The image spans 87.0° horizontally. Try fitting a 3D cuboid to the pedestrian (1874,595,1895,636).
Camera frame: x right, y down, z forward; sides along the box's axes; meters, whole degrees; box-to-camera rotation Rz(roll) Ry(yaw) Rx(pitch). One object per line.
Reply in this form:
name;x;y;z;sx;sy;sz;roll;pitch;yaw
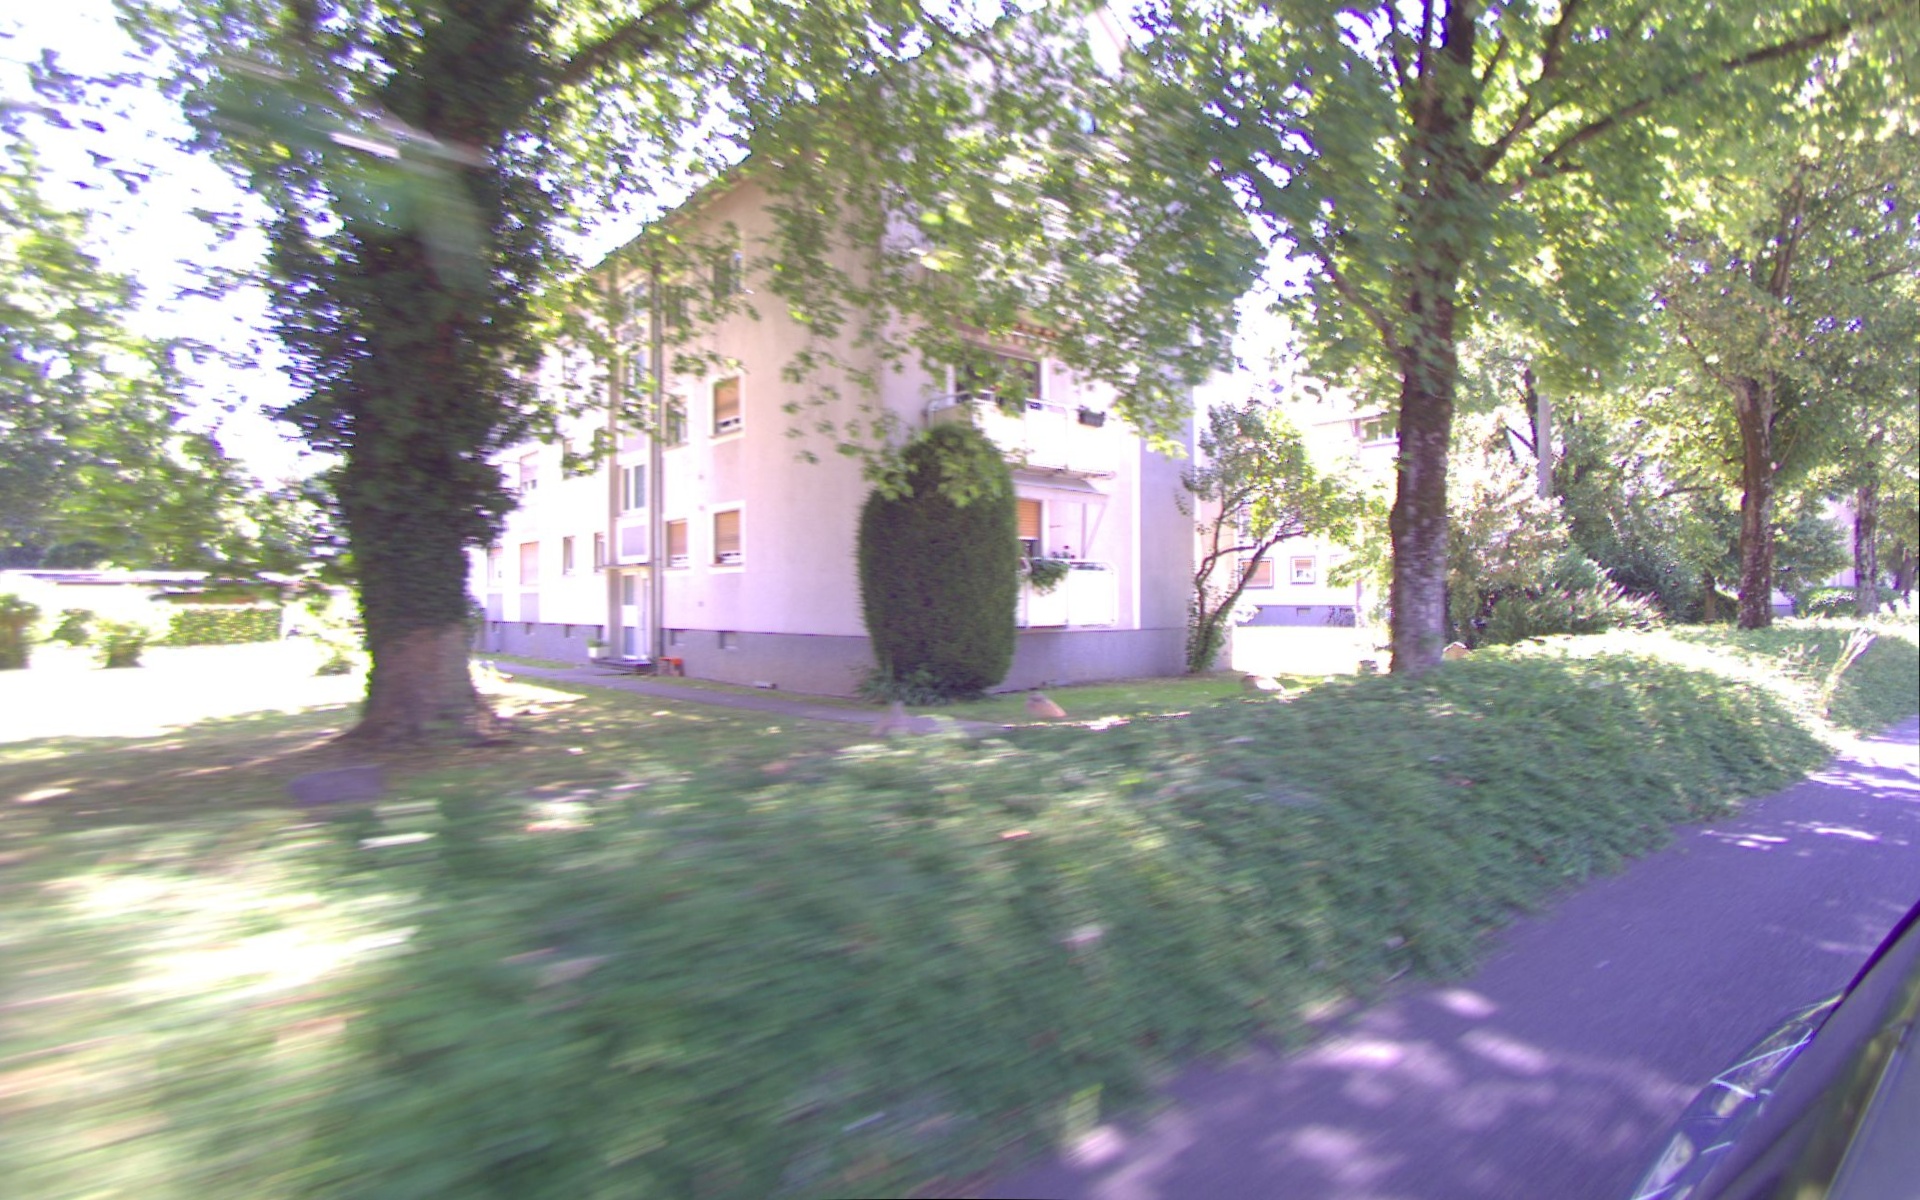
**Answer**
pedestrian;44.489;0.748;48.688;0.610;1.950;0.677;0;0;-41
